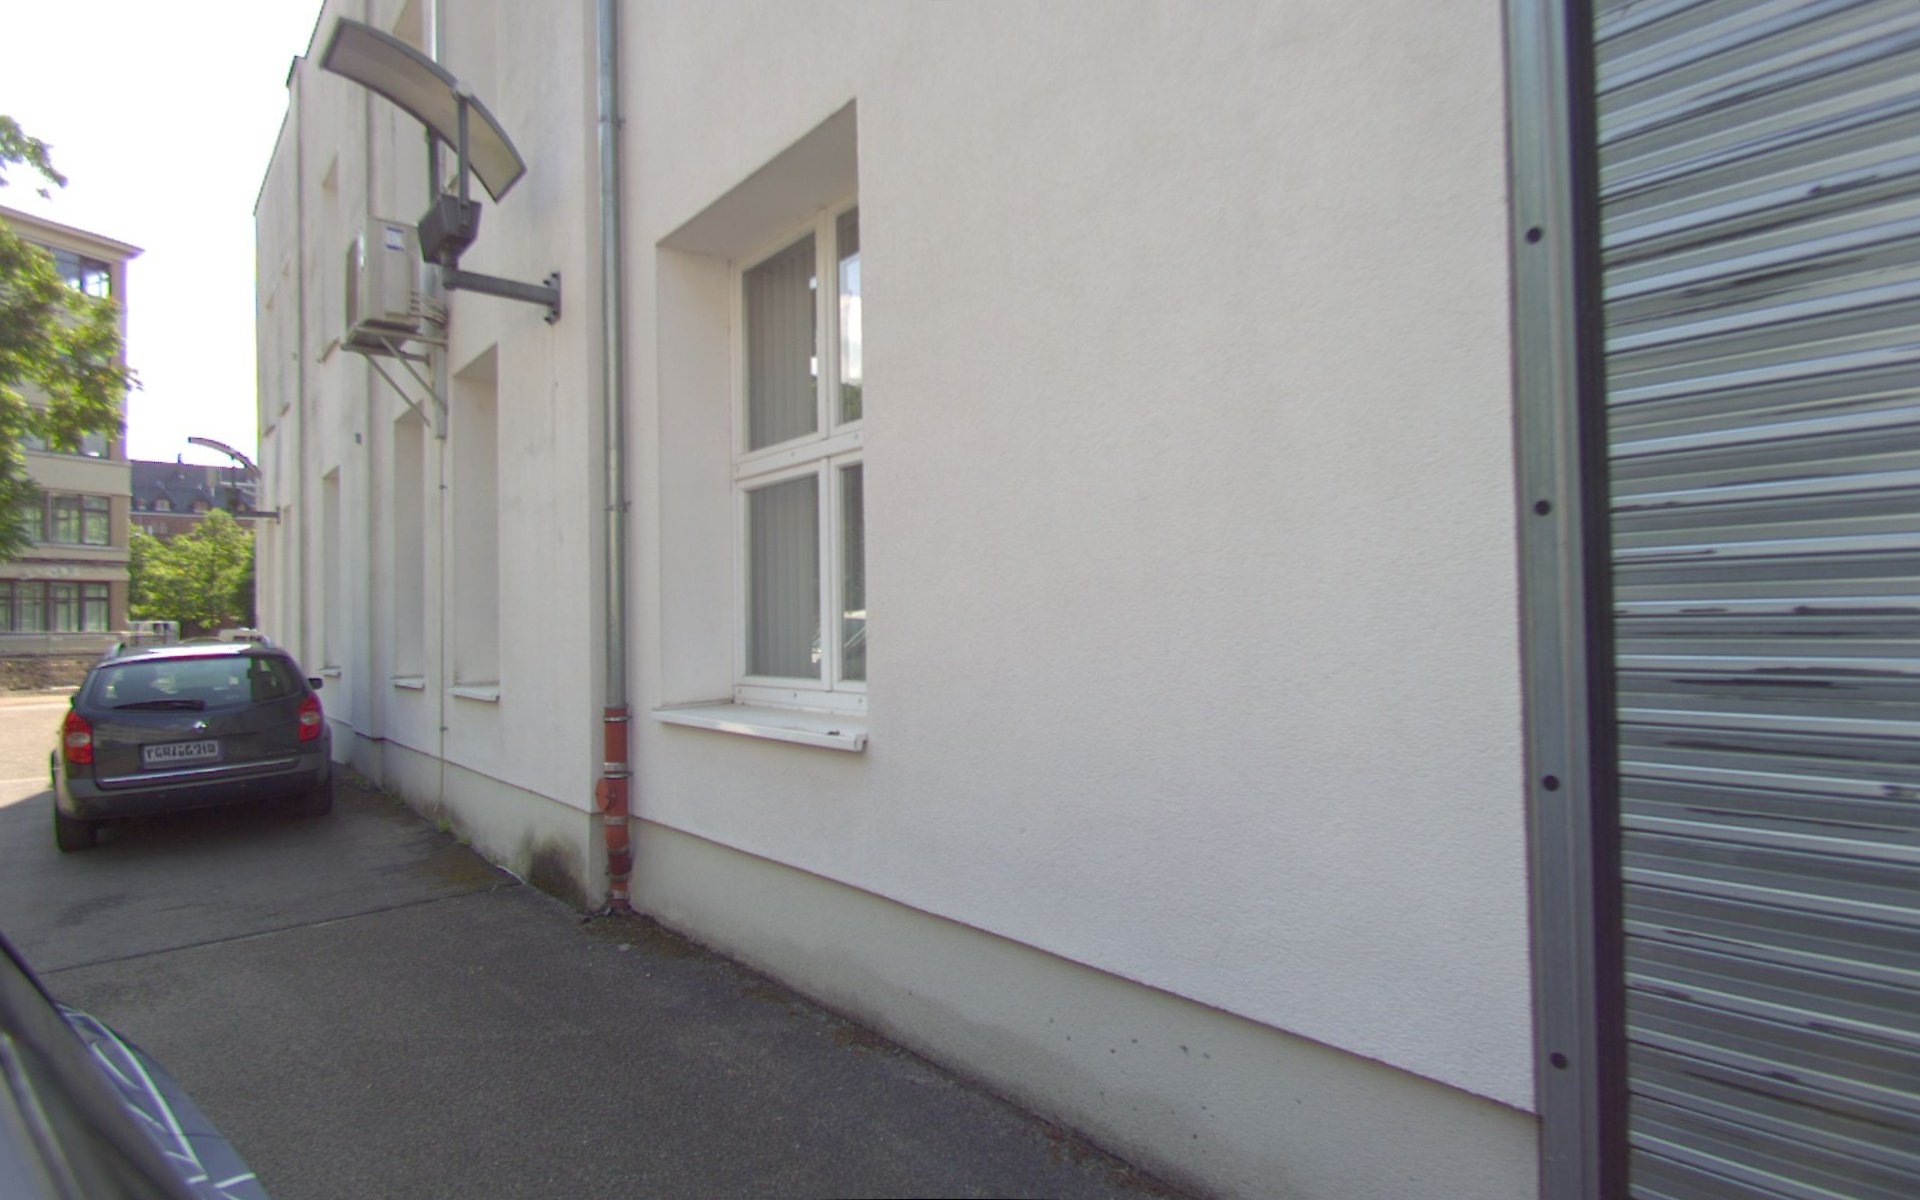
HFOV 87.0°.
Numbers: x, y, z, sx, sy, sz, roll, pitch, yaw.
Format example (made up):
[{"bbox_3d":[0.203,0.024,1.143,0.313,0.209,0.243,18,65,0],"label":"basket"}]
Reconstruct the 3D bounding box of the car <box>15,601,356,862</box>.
[{"bbox_3d":[-6.602,0.827,8.597,1.856,1.453,4.348,-1,3,-40],"label":"car"}]

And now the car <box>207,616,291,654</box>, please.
[{"bbox_3d":[-46.244,2.227,65.817,5.276,2.028,1.984,4,0,24],"label":"car"}]

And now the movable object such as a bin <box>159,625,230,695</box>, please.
[{"bbox_3d":[-17.111,1.322,22.636,1.208,1.462,1.285,-1,-1,-38],"label":"movable object such as a bin"}]

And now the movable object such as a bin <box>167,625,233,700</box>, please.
[{"bbox_3d":[-16.186,1.300,21.548,1.085,1.462,1.346,-1,1,-38],"label":"movable object such as a bin"}]

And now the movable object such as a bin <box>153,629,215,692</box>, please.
[{"bbox_3d":[-19.264,1.481,25.119,1.086,1.462,1.344,0,-1,-43],"label":"movable object such as a bin"}]

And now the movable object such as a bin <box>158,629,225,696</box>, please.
[{"bbox_3d":[-18.190,1.456,23.947,1.234,1.462,1.087,0,1,45],"label":"movable object such as a bin"}]
